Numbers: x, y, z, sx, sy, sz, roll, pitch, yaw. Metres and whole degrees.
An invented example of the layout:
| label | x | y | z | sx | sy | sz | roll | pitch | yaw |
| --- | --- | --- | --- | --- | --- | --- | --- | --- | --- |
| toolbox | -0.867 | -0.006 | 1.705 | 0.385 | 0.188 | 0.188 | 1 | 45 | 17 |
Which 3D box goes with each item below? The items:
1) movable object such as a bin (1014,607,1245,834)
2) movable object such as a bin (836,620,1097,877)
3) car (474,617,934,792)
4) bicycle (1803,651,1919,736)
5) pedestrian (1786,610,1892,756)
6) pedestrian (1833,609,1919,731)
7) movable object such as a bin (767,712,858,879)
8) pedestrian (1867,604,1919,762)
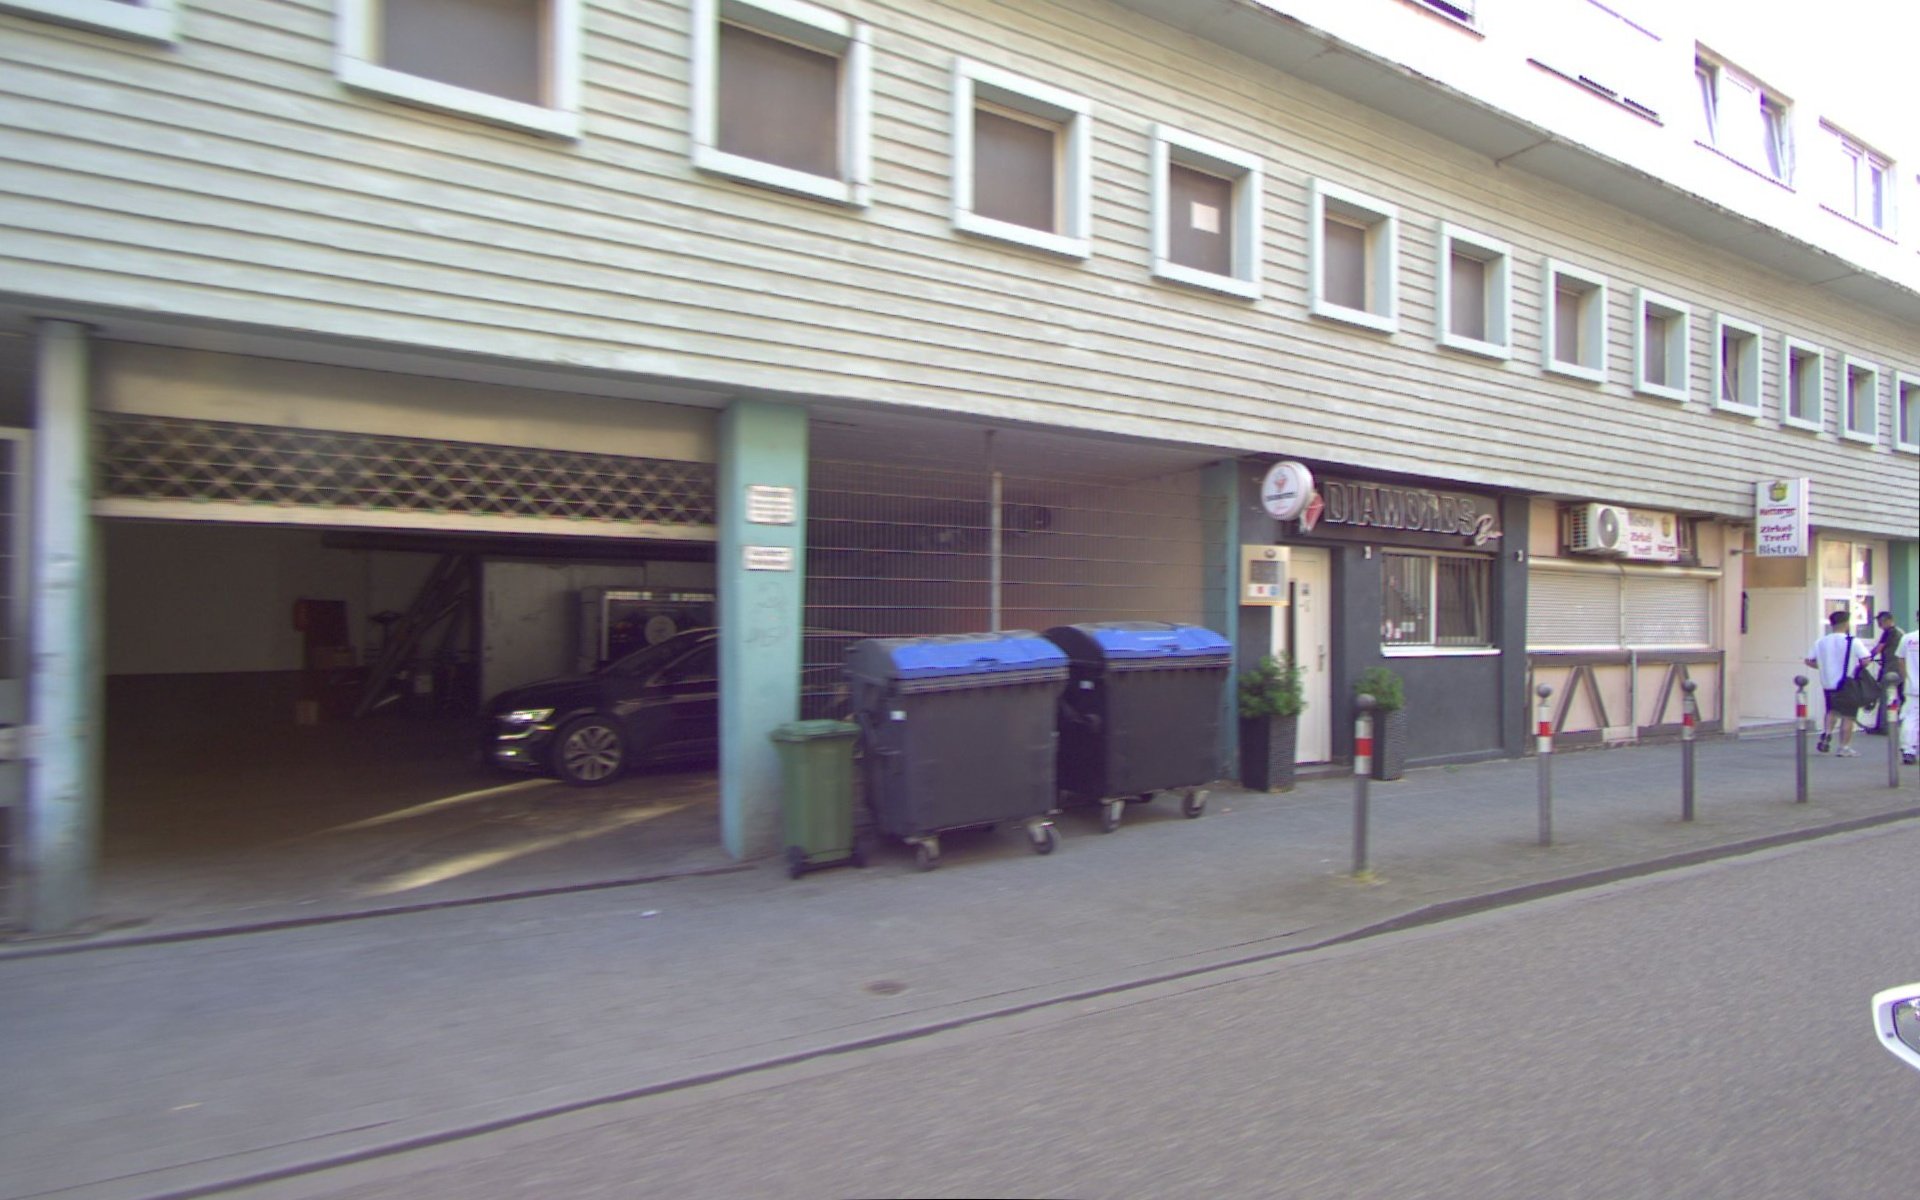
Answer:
| label | x | y | z | sx | sy | sz | roll | pitch | yaw |
| --- | --- | --- | --- | --- | --- | --- | --- | --- | --- |
| movable object such as a bin | 1.279 | 0.834 | 7.675 | 1.326 | 1.540 | 1.117 | 0 | -1 | -30 |
| movable object such as a bin | 0.036 | 0.897 | 6.726 | 1.457 | 1.491 | 0.964 | -1 | -1 | -30 |
| car | -2.688 | 0.983 | 10.898 | 4.547 | 1.555 | 1.754 | 1 | -1 | -30 |
| bicycle | 13.959 | 1.369 | 15.002 | 0.808 | 1.178 | 2.134 | 0 | -2 | -5 |
| pedestrian | 10.630 | 0.982 | 12.157 | 0.883 | 1.691 | 0.670 | 1 | -2 | -28 |
| pedestrian | 13.958 | 1.024 | 15.042 | 0.787 | 1.751 | 1.080 | 0 | -1 | -5 |
| movable object such as a bin | -0.935 | 1.213 | 6.365 | 0.462 | 0.954 | 0.391 | 0 | -1 | -30 |
| pedestrian | 11.020 | 0.940 | 11.475 | 0.819 | 1.757 | 0.695 | 1 | -3 | -28 |
